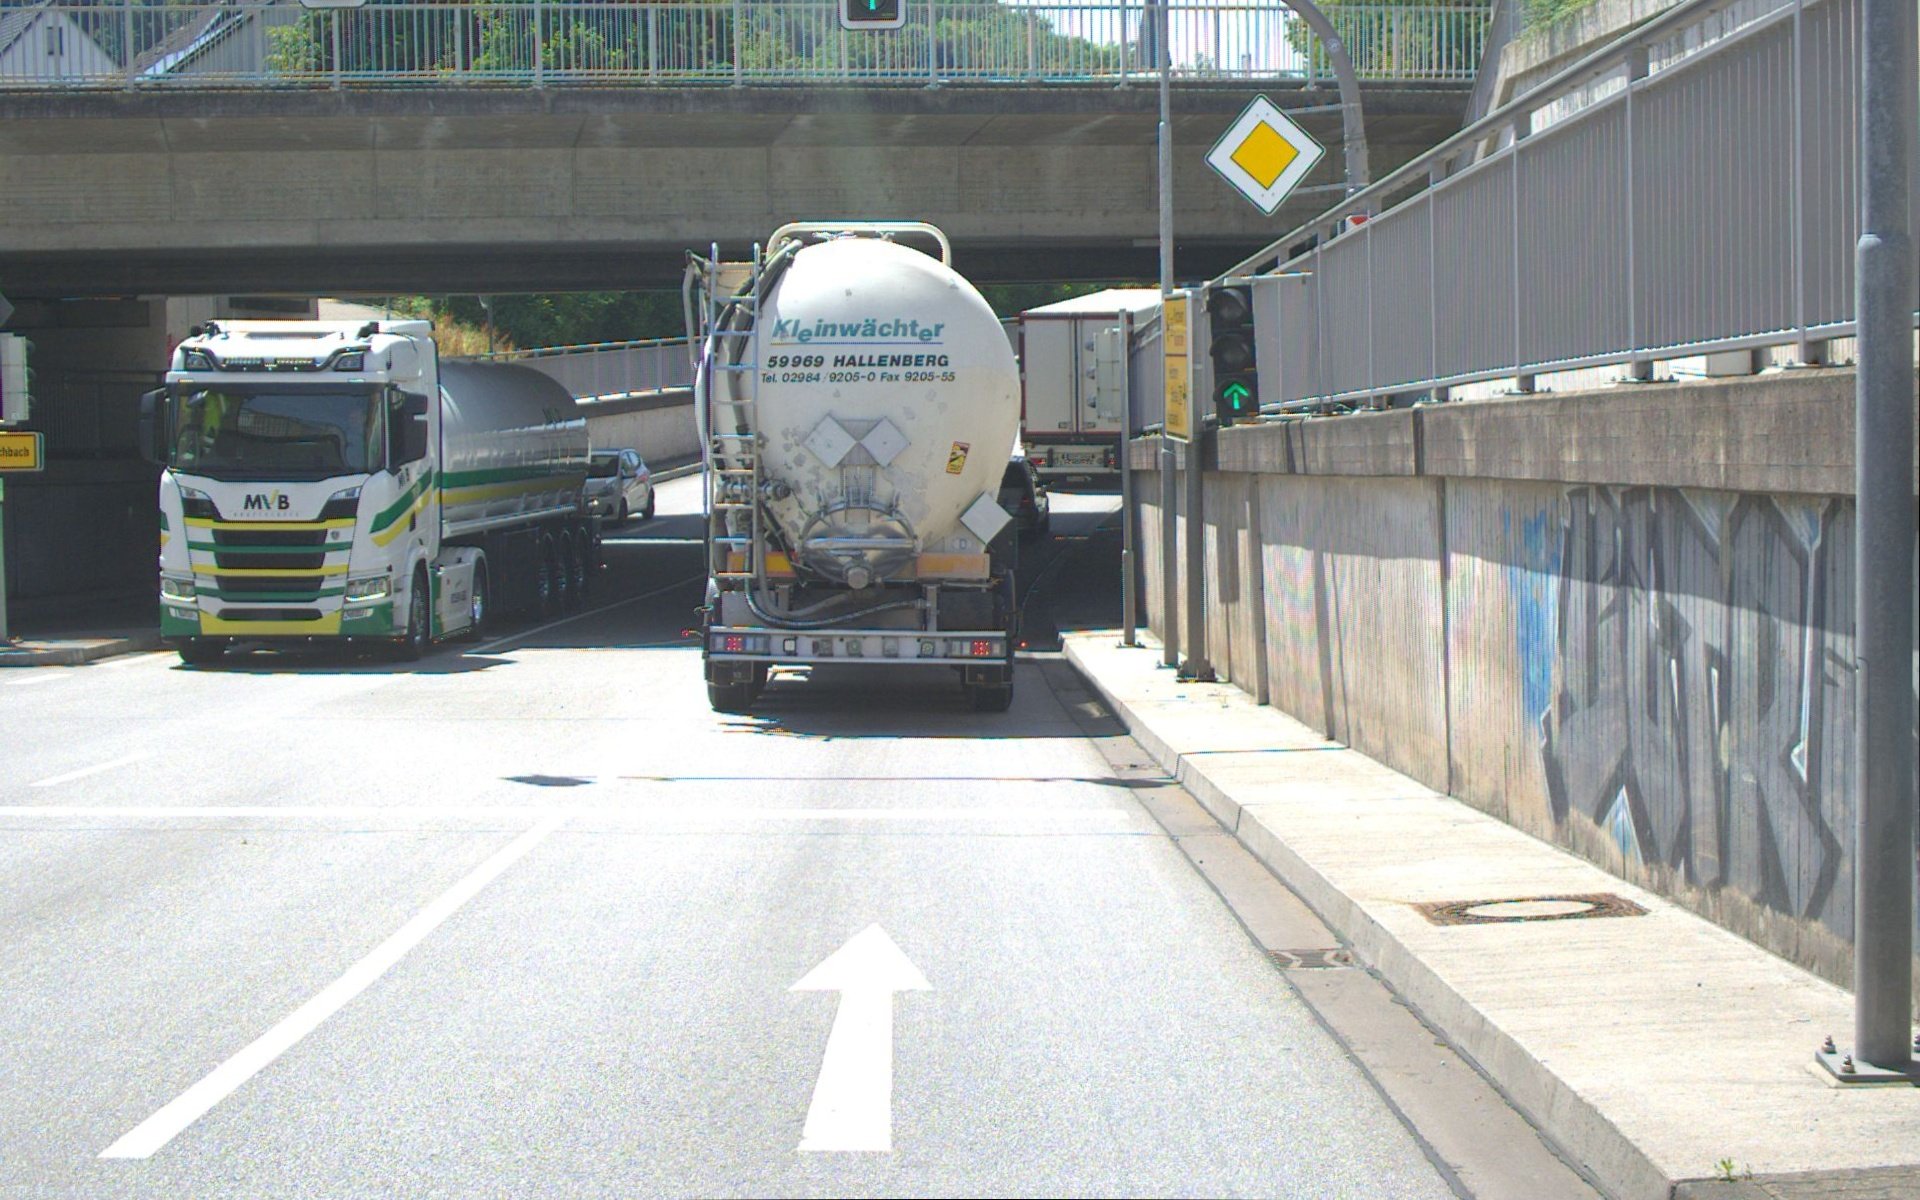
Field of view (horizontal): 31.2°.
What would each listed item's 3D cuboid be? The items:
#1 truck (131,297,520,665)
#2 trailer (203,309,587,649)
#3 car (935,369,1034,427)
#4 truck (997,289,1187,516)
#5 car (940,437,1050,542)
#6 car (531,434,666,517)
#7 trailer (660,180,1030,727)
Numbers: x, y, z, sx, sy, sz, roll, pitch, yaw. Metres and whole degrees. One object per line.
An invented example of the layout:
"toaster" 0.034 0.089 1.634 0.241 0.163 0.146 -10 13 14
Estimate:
"truck" -6.865 -1.295 38.282 2.689 3.650 7.369 1 1 2
"trailer" -6.698 -1.442 42.371 2.689 3.650 9.889 1 1 2
"car" 0.767 -6.054 102.966 1.899 1.524 3.998 0 5 16
"truck" 3.251 -4.688 81.458 3.082 4.982 10.080 2 3 10
"car" 0.685 -2.109 64.635 1.882 1.633 4.001 1 7 3
"car" -7.160 -2.501 68.393 1.780 1.461 3.832 1 5 8
"trailer" -0.789 -1.272 32.184 2.735 4.050 13.313 0 2 1
